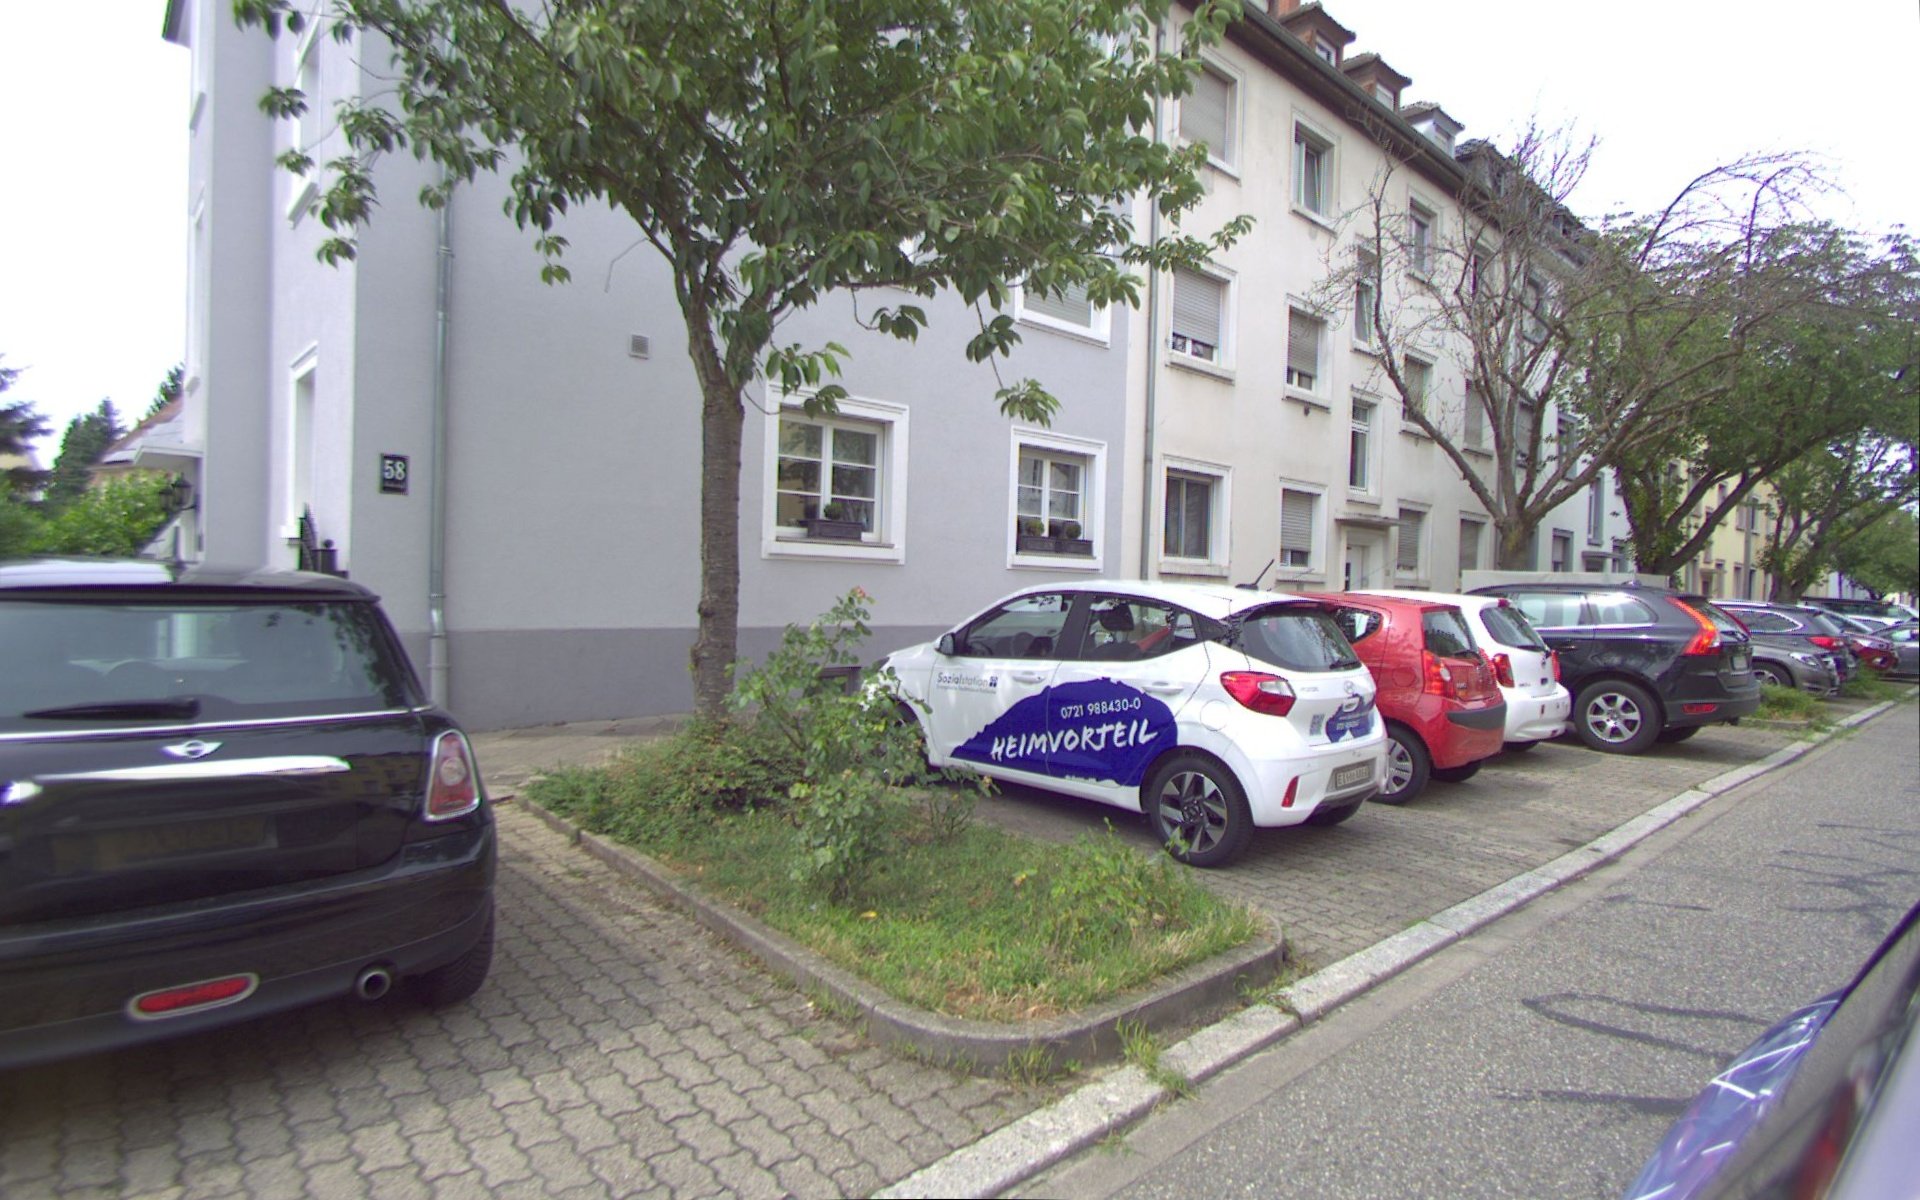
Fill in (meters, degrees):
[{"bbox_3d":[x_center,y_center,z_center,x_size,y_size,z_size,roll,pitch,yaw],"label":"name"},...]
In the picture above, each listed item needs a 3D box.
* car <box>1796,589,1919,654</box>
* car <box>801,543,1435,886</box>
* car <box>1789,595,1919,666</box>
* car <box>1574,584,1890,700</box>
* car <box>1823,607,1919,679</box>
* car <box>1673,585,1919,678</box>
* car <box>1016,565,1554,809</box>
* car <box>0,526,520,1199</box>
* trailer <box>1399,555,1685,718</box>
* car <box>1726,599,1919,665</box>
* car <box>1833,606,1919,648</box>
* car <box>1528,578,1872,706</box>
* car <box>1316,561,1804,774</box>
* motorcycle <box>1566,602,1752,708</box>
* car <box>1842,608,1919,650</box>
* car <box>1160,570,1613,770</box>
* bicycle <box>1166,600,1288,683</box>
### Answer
[{"bbox_3d":[32.996,0.788,35.643,5.233,2.047,2.040,5,3,45],"label":"car"},{"bbox_3d":[0.813,0.473,6.899,1.739,1.548,3.992,1,3,-44],"label":"car"},{"bbox_3d":[23.390,0.775,25.205,1.610,1.554,3.995,1,3,-42],"label":"car"},{"bbox_3d":[13.770,0.641,18.232,1.872,1.617,4.221,1,3,-43],"label":"car"},{"bbox_3d":[22.260,1.048,22.845,1.736,1.472,3.995,1,3,-42],"label":"car"},{"bbox_3d":[19.134,0.642,23.128,1.869,1.698,4.226,1,3,-39],"label":"car"},{"bbox_3d":[2.557,0.524,8.650,1.739,1.427,3.992,0,3,-44],"label":"car"},{"bbox_3d":[-3.153,0.503,3.704,1.778,1.470,3.550,1,3,-42],"label":"car"},{"bbox_3d":[7.751,0.391,13.673,1.375,1.853,2.970,1,3,-38],"label":"trailer"},{"bbox_3d":[24.140,0.833,28.336,1.610,1.437,3.995,1,3,-42],"label":"car"},{"bbox_3d":[39.498,1.162,42.158,1.819,1.528,4.554,1,3,-43],"label":"car"},{"bbox_3d":[11.948,0.565,16.544,1.872,1.617,4.221,1,3,-43],"label":"car"},{"bbox_3d":[6.426,0.551,11.274,1.869,1.757,4.226,1,3,-39],"label":"car"},{"bbox_3d":[10.665,0.793,15.513,0.703,1.427,2.228,1,1,-43],"label":"motorcycle"},{"bbox_3d":[37.896,1.202,40.185,1.819,1.432,4.099,1,3,-43],"label":"car"},{"bbox_3d":[4.128,0.534,10.242,1.832,1.459,3.757,1,3,-40],"label":"car"},{"bbox_3d":[3.929,0.580,14.828,1.970,1.110,0.688,1,3,-41],"label":"bicycle"}]
